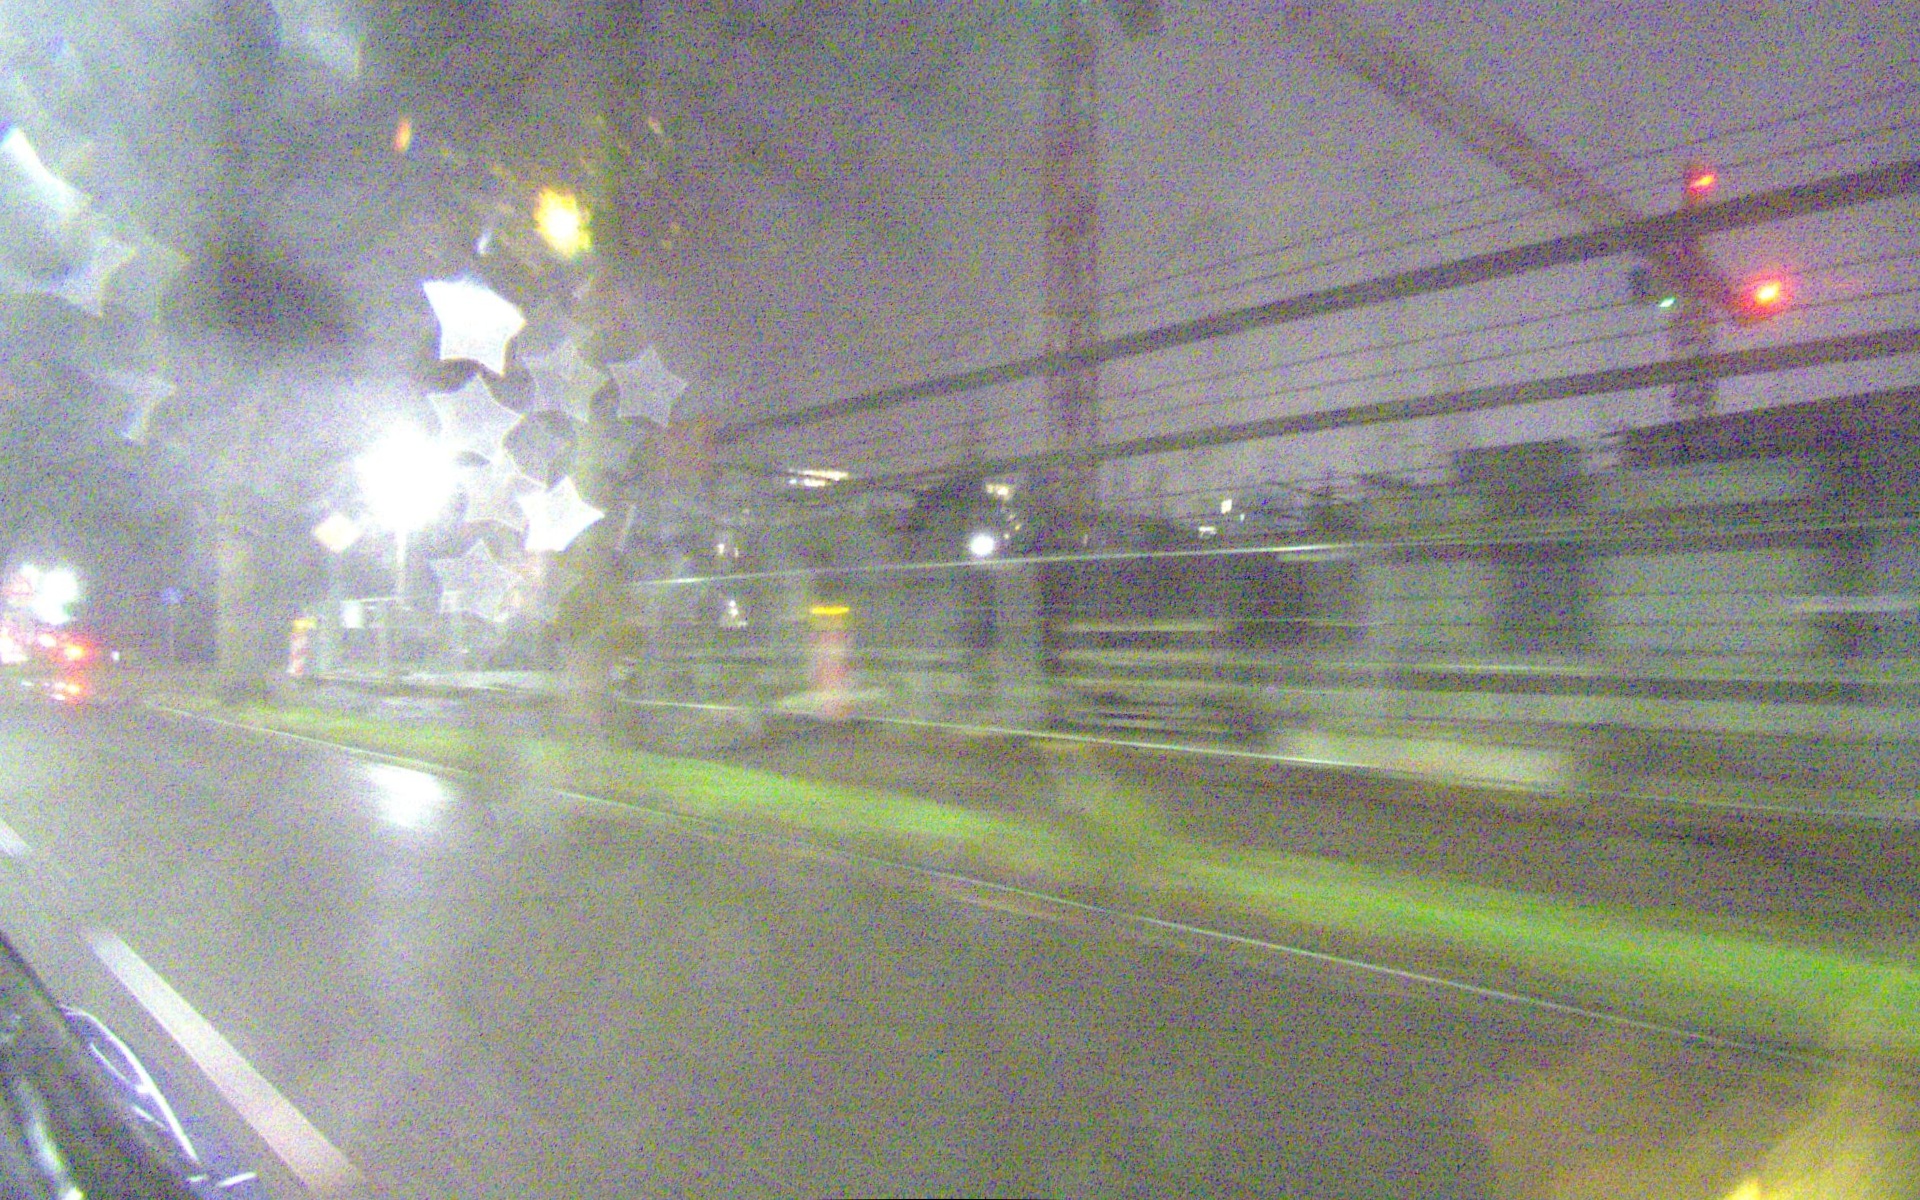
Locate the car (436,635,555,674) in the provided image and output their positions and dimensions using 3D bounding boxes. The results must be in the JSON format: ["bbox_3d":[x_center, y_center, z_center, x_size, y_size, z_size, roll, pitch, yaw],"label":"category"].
[{"bbox_3d":[-18.554,2.174,40.548,4.028,1.381,1.495,3,0,-44],"label":"car"}]

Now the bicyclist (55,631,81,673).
[{"bbox_3d":[-36.195,2.111,41.049,0.959,1.607,0.630,-6,-4,40],"label":"bicyclist"}]

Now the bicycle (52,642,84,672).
[{"bbox_3d":[-36.377,2.296,41.264,2.312,1.170,0.623,-1,-2,40],"label":"bicycle"}]
